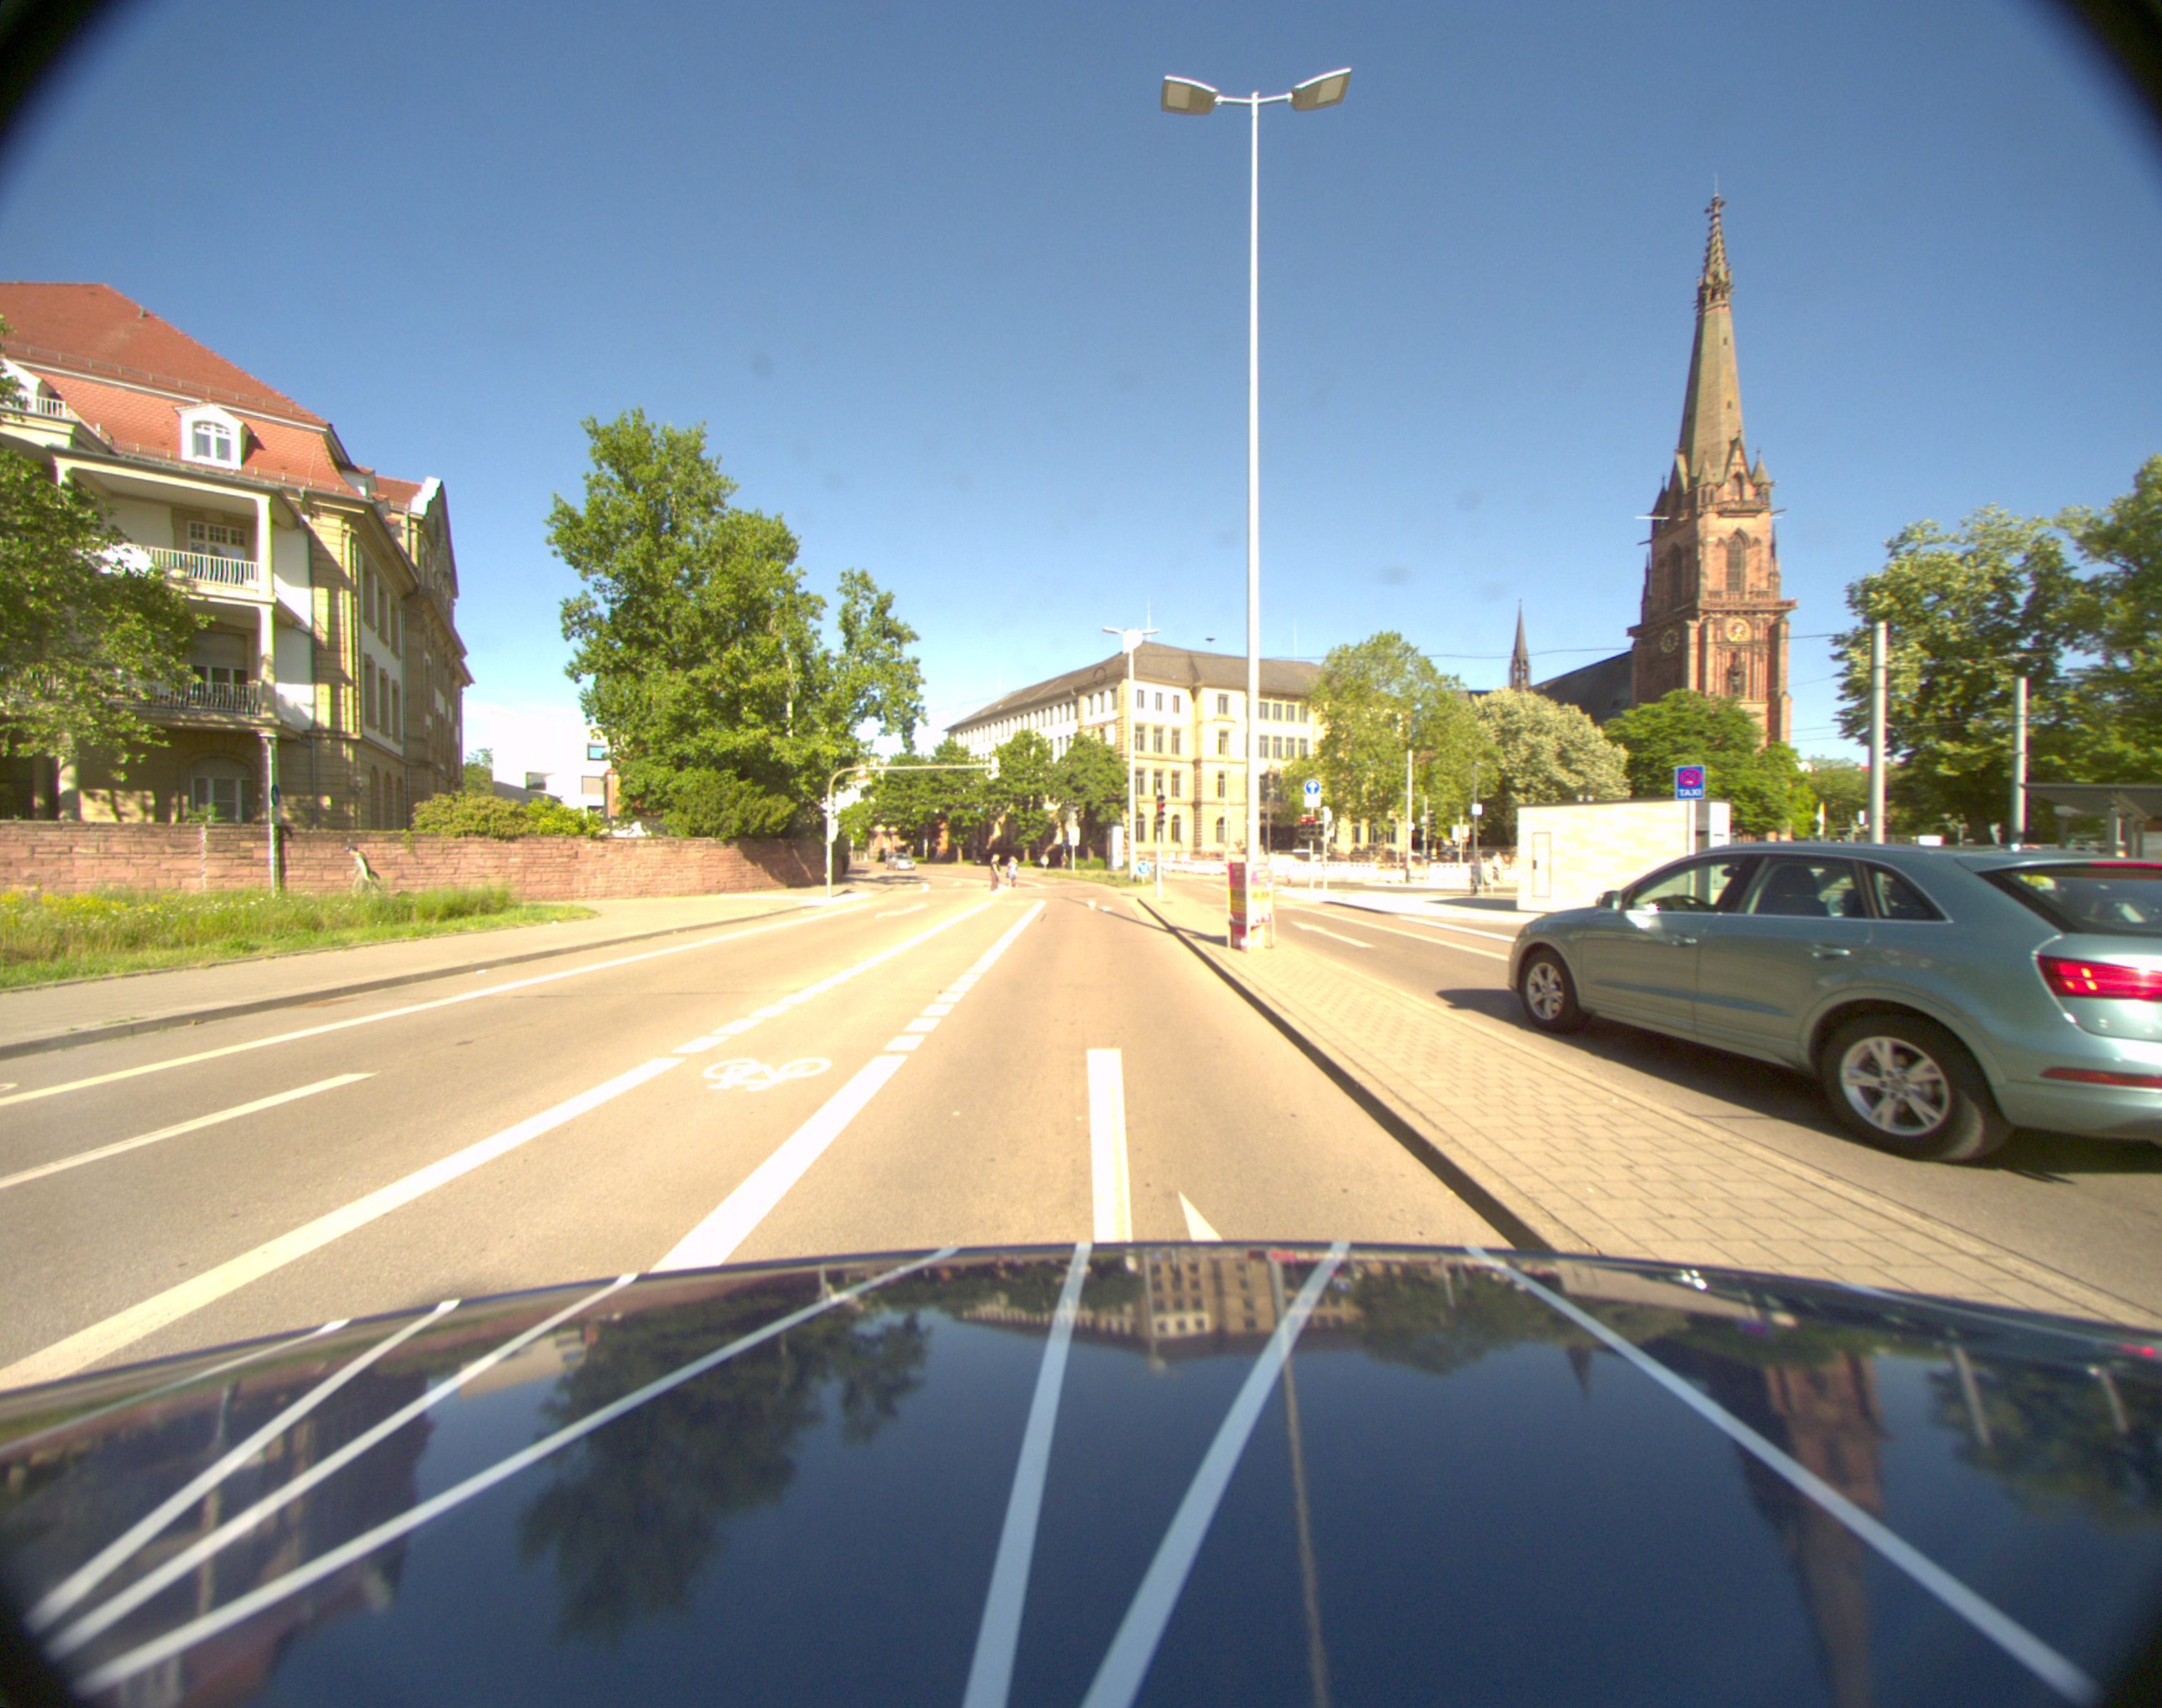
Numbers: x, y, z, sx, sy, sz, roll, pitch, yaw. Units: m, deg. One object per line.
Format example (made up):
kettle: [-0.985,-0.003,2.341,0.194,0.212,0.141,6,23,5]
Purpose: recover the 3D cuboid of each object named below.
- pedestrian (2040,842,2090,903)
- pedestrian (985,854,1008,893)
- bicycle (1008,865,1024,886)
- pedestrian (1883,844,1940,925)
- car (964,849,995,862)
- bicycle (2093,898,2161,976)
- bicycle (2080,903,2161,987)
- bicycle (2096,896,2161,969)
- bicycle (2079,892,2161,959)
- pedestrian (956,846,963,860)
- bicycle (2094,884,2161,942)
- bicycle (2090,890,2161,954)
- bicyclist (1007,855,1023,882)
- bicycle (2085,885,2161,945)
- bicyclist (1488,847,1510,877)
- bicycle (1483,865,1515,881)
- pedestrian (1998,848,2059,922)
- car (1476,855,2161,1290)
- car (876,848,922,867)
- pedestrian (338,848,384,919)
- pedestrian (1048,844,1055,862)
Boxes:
pedestrian: [30.433,0.559,23.510,0.619,1.849,0.703,0,1,11]
pedestrian: [-3.613,0.833,32.623,0.932,1.657,0.630,0,1,-3]
bicycle: [-3.420,1.123,39.696,0.741,0.989,2.305,-2,1,-6]
pedestrian: [19.598,0.704,17.941,0.700,1.849,0.621,0,1,22]
car: [-12.111,0.145,90.462,1.839,1.587,3.989,-1,1,-37]
bicycle: [15.032,1.168,10.202,0.407,0.993,1.678,-3,3,-33]
bicycle: [13.987,1.191,9.545,0.407,0.993,1.678,-3,3,-33]
bicycle: [16.130,1.185,10.993,0.407,0.993,1.678,-3,3,-33]
bicycle: [17.187,1.144,12.006,0.407,0.993,1.679,-3,2,-33]
pedestrian: [-16.632,-0.149,103.793,0.578,1.893,0.849,-1,1,-36]
bicycle: [19.516,1.067,13.573,0.407,0.993,1.679,-3,2,-33]
bicycle: [17.966,1.140,12.453,0.407,0.993,1.679,-3,2,-33]
bicyclist: [-3.438,0.776,39.677,0.741,1.363,0.626,-2,1,-6]
bicycle: [19.030,1.086,13.331,0.407,0.993,1.679,-3,2,-33]
bicyclist: [22.542,0.419,40.939,0.887,1.562,0.739,-1,1,-37]
bicycle: [22.544,1.000,40.950,2.056,0.777,0.739,-1,1,-38]
pedestrian: [21.284,0.682,17.073,0.621,1.613,0.701,-1,1,-24]
car: [4.709,0.831,4.976,1.793,1.572,4.256,1,0,-4]
car: [-17.478,0.353,72.801,4.838,1.580,2.004,-2,1,44]
pedestrian: [-19.191,0.758,20.244,0.628,1.847,0.789,1,1,39]
pedestrian: [-3.348,-0.095,85.716,0.557,2.002,0.645,-1,1,-37]
